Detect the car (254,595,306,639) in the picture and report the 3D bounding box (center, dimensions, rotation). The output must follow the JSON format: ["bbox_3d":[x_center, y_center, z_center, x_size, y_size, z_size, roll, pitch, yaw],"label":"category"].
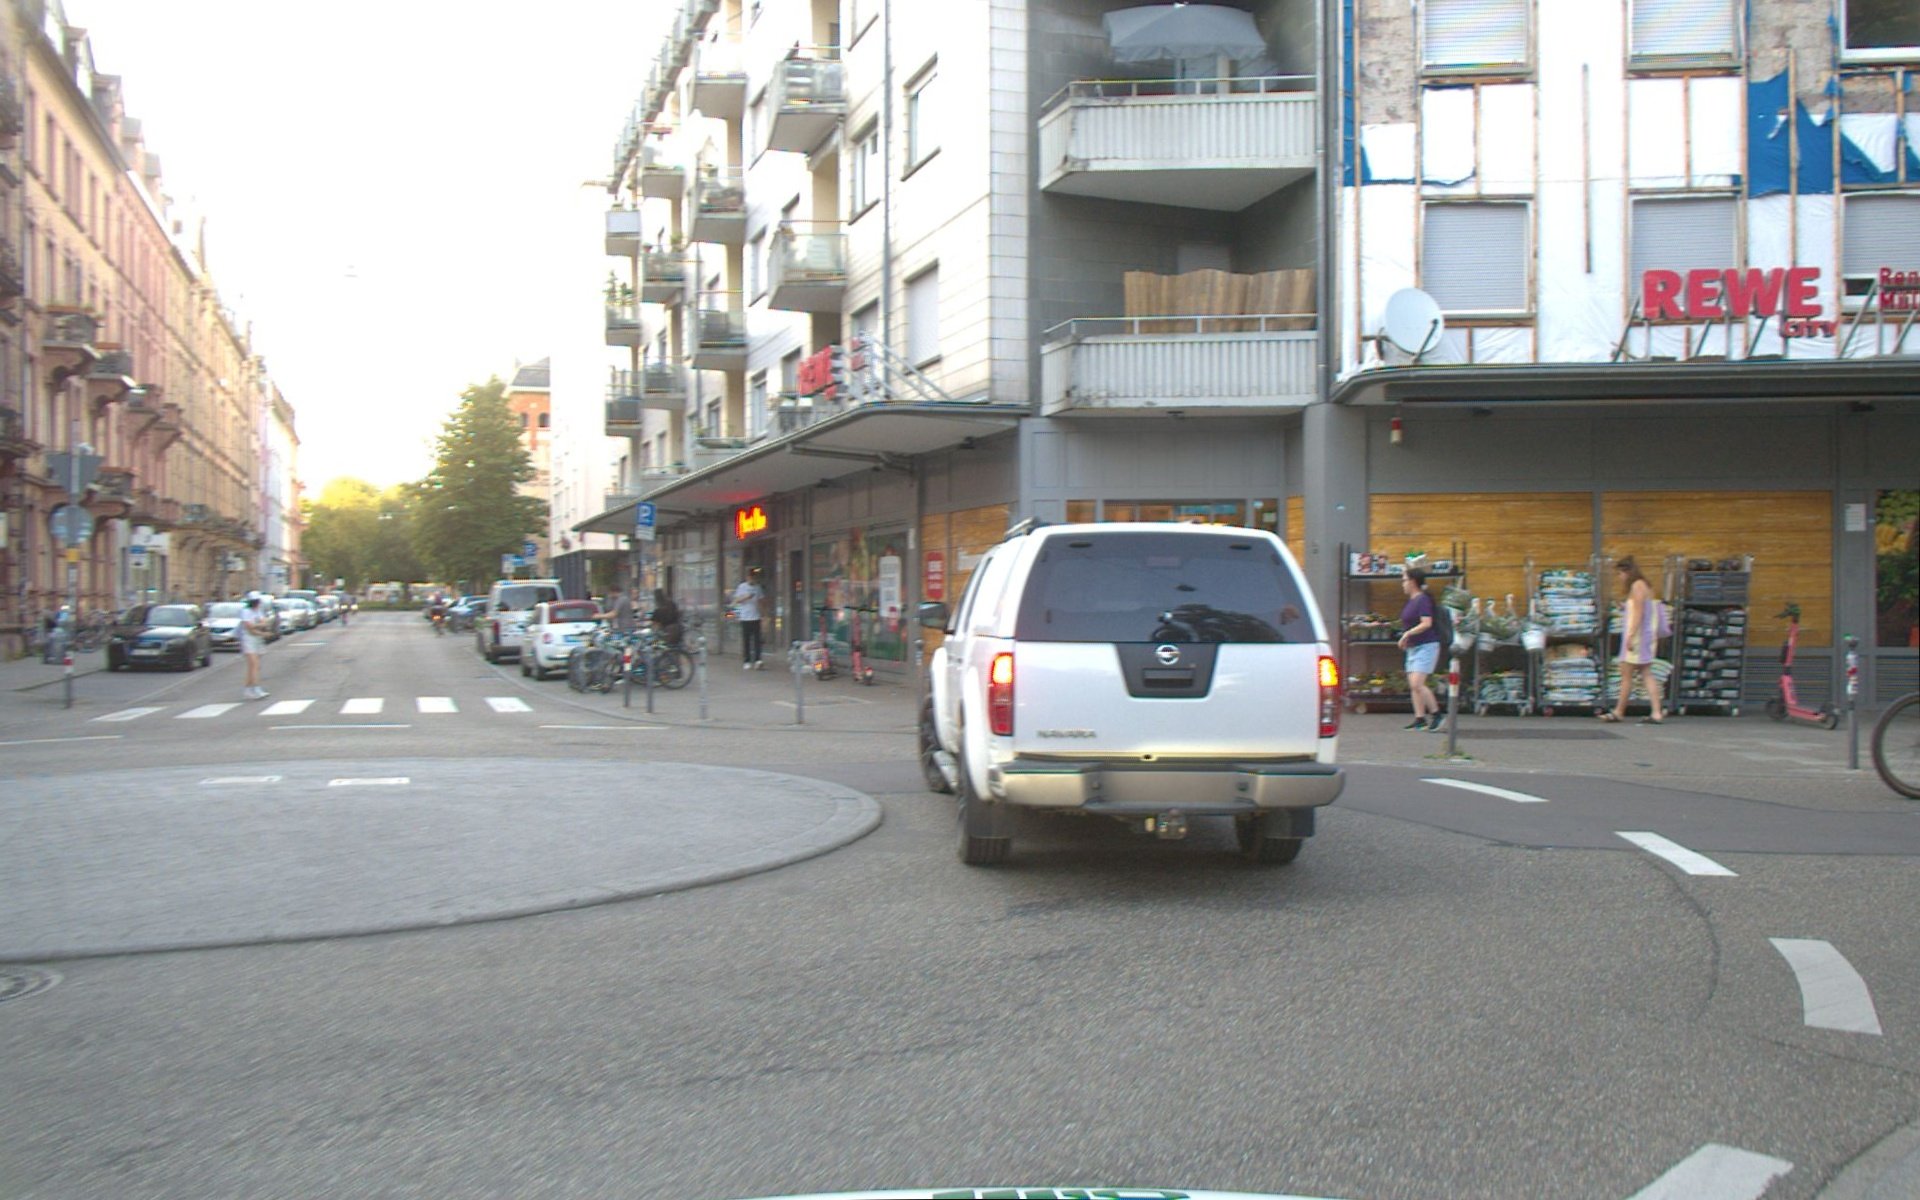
[{"bbox_3d":[-28.976,0.733,70.578,1.807,1.780,3.977,1,-1,-19],"label":"car"}]

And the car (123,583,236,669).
[{"bbox_3d":[-17.262,0.575,36.735,1.807,1.780,3.977,1,-1,-19],"label":"car"}]

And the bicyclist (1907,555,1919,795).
[{"bbox_3d":[7.359,0.540,11.602,0.974,1.718,0.791,0,0,-2],"label":"bicyclist"}]

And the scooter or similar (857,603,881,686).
[{"bbox_3d":[-1.435,0.689,25.982,0.215,1.259,0.963,1,1,-11],"label":"scooter or similar"}]

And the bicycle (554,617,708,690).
[{"bbox_3d":[-5.496,0.885,27.682,2.429,1.056,0.612,-3,1,-24],"label":"bicycle"}]

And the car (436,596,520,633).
[{"bbox_3d":[-24.157,0.732,82.845,3.928,1.780,1.830,1,-1,-20],"label":"car"}]

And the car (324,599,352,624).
[{"bbox_3d":[-46.753,0.865,124.408,1.807,1.780,3.977,1,-1,-19],"label":"car"}]

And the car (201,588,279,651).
[{"bbox_3d":[-21.716,0.583,49.987,1.807,1.780,4.139,1,-1,-19],"label":"car"}]

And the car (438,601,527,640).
[{"bbox_3d":[-22.726,0.971,78.723,3.928,1.780,1.830,1,-1,-20],"label":"car"}]

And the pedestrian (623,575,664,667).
[{"bbox_3d":[-5.955,0.398,31.096,0.688,1.692,0.720,1,-1,-13],"label":"pedestrian"}]

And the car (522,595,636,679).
[{"bbox_3d":[-7.764,0.725,33.462,1.807,1.569,3.977,1,-1,-19],"label":"car"}]

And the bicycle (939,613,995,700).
[{"bbox_3d":[0.083,0.749,22.146,0.286,1.132,0.956,2,-1,-31],"label":"bicycle"}]

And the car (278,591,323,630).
[{"bbox_3d":[-31.654,0.515,79.482,1.807,1.780,3.977,1,-1,-19],"label":"car"}]

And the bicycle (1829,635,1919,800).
[{"bbox_3d":[7.416,0.808,11.617,2.232,1.091,0.791,0,0,-2],"label":"bicycle"}]

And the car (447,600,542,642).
[{"bbox_3d":[-20.691,0.933,73.566,3.928,1.780,1.830,1,-1,-20],"label":"car"}]

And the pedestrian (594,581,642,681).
[{"bbox_3d":[-5.895,0.538,28.516,0.709,1.692,0.699,1,-1,-19],"label":"pedestrian"}]

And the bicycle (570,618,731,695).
[{"bbox_3d":[-4.938,0.886,26.456,2.429,1.056,0.612,-3,1,-24],"label":"bicycle"}]

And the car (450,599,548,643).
[{"bbox_3d":[-19.929,0.916,71.474,3.928,1.780,1.830,1,-1,-20],"label":"car"}]

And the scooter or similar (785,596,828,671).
[{"bbox_3d":[-2.763,0.593,29.660,0.432,1.313,1.660,1,-1,-16],"label":"scooter or similar"}]

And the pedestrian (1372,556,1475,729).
[{"bbox_3d":[4.644,0.426,16.589,0.705,1.681,0.709,1,-1,-20],"label":"pedestrian"}]

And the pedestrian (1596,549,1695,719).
[{"bbox_3d":[7.230,0.358,17.458,0.707,1.756,0.664,1,-1,-12],"label":"pedestrian"}]

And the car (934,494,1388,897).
[{"bbox_3d":[0.892,0.399,10.114,1.899,1.841,4.998,1,1,-3],"label":"car"}]

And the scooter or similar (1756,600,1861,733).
[{"bbox_3d":[8.740,0.662,17.081,0.314,1.288,1.288,1,1,-4],"label":"scooter or similar"}]

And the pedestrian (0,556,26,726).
[{"bbox_3d":[-11.183,0.461,18.693,0.604,1.918,0.901,0,-1,40],"label":"pedestrian"}]

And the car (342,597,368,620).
[{"bbox_3d":[-48.472,0.723,132.557,1.807,1.780,3.977,1,-1,-19],"label":"car"}]

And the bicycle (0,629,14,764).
[{"bbox_3d":[-9.062,0.833,13.874,0.820,1.192,1.937,1,-1,13],"label":"bicycle"}]

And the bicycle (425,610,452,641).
[{"bbox_3d":[-20.196,0.983,63.999,0.826,1.192,1.923,1,-1,-22],"label":"bicycle"}]

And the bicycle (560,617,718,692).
[{"bbox_3d":[-5.248,0.880,27.063,2.429,1.056,0.612,-3,1,-24],"label":"bicycle"}]

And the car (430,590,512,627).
[{"bbox_3d":[-25.315,0.453,85.636,3.928,1.780,1.830,1,-1,-20],"label":"car"}]

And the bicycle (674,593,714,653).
[{"bbox_3d":[-6.620,0.566,41.097,0.548,1.432,2.082,1,-1,-21],"label":"bicycle"}]

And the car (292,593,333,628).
[{"bbox_3d":[-33.973,0.549,86.902,1.807,1.780,3.977,1,-1,-19],"label":"car"}]

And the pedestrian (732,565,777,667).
[{"bbox_3d":[-3.980,0.306,31.987,0.709,1.940,0.699,1,-1,-19],"label":"pedestrian"}]

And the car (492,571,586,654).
[{"bbox_3d":[-10.655,0.327,41.705,1.913,1.967,3.977,1,-1,-19],"label":"car"}]

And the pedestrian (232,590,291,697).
[{"bbox_3d":[-10.986,0.676,26.032,0.786,1.649,0.938,1,-1,-21],"label":"pedestrian"}]

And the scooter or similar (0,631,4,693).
[{"bbox_3d":[-15.338,0.957,26.006,0.232,0.945,1.245,2,-1,-43],"label":"scooter or similar"}]

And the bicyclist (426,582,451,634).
[{"bbox_3d":[-20.126,0.305,63.872,0.826,1.978,0.779,1,-1,-22],"label":"bicyclist"}]

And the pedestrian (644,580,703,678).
[{"bbox_3d":[-5.029,0.503,29.071,0.688,1.692,0.720,0,-1,34],"label":"pedestrian"}]
